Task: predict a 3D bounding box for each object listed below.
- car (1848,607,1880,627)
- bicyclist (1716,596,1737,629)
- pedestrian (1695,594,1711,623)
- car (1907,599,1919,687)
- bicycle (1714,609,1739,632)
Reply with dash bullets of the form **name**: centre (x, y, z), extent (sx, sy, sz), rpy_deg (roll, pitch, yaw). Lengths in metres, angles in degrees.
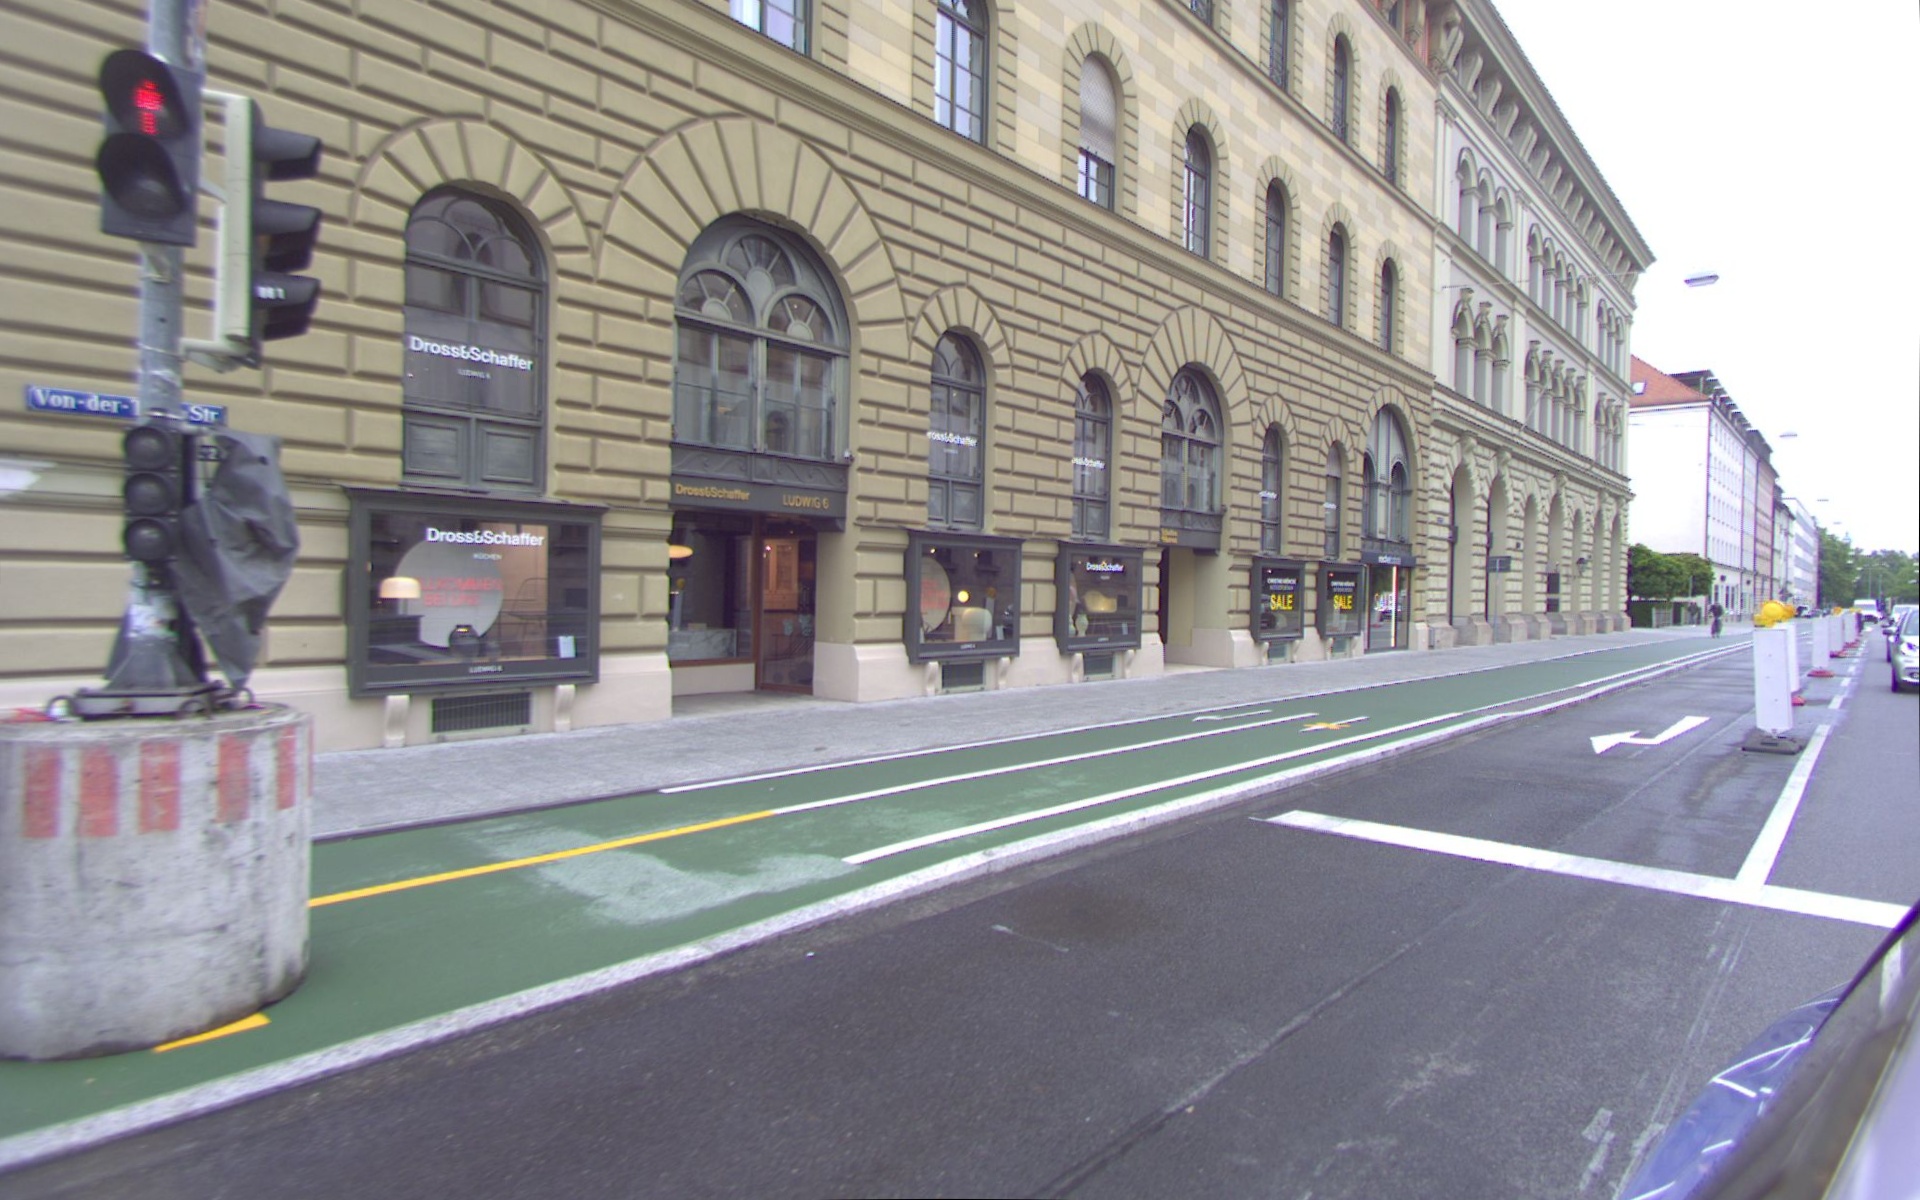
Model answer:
- **car**: centre (68.332, 1.248, 76.479), extent (1.735, 1.452, 3.937), rpy_deg (0, 0, 43)
- **bicyclist**: centre (36.409, 0.578, 48.079), extent (0.722, 1.572, 0.845), rpy_deg (-1, -1, 43)
- **pedestrian**: centre (48.729, 0.566, 66.379), extent (0.653, 1.897, 0.813), rpy_deg (3, 1, 43)
- **car**: centre (18.420, 0.758, 18.466), extent (1.629, 1.522, 3.937), rpy_deg (0, 0, 43)
- **bicycle**: centre (36.465, 0.968, 48.132), extent (0.748, 1.045, 2.491), rpy_deg (0, -1, 43)
